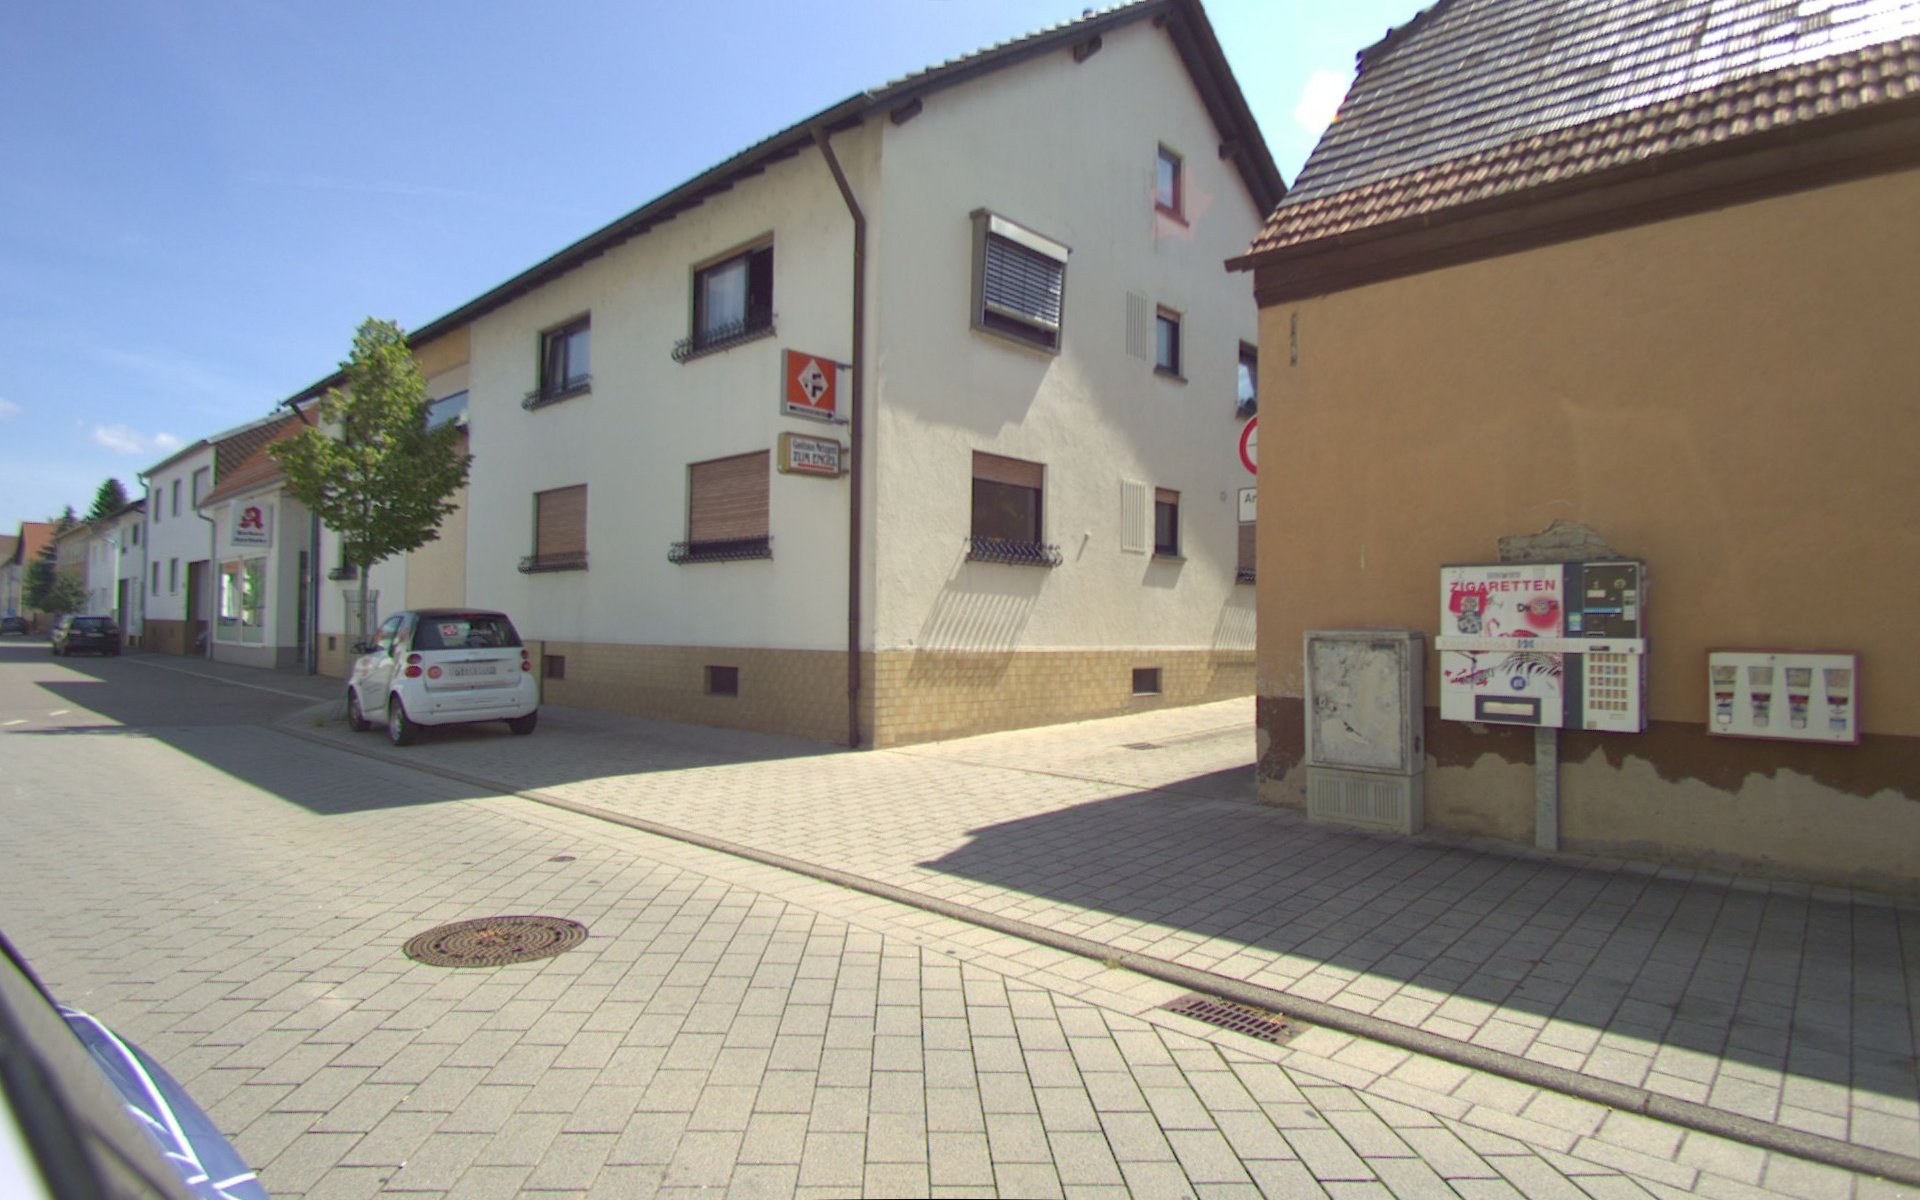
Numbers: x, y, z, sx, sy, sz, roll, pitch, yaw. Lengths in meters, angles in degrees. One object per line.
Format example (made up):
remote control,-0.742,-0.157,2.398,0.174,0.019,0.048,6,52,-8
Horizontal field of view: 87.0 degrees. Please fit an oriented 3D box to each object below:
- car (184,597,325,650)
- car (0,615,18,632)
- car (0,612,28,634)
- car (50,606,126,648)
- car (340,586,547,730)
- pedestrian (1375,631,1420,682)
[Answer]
car,-25.608,0.807,36.818,1.815,1.731,3.942,-1,1,45
car,-88.901,2.152,93.880,3.999,1.564,1.830,-1,-2,42
car,-73.909,1.790,78.776,4.002,1.711,1.826,-1,-2,44
car,-33.889,1.028,39.302,3.954,1.578,1.729,-1,-2,42
car,-6.555,0.640,12.751,1.554,1.573,2.824,-2,1,-44
pedestrian,9.192,1.166,21.245,0.631,1.015,0.806,0,0,44
